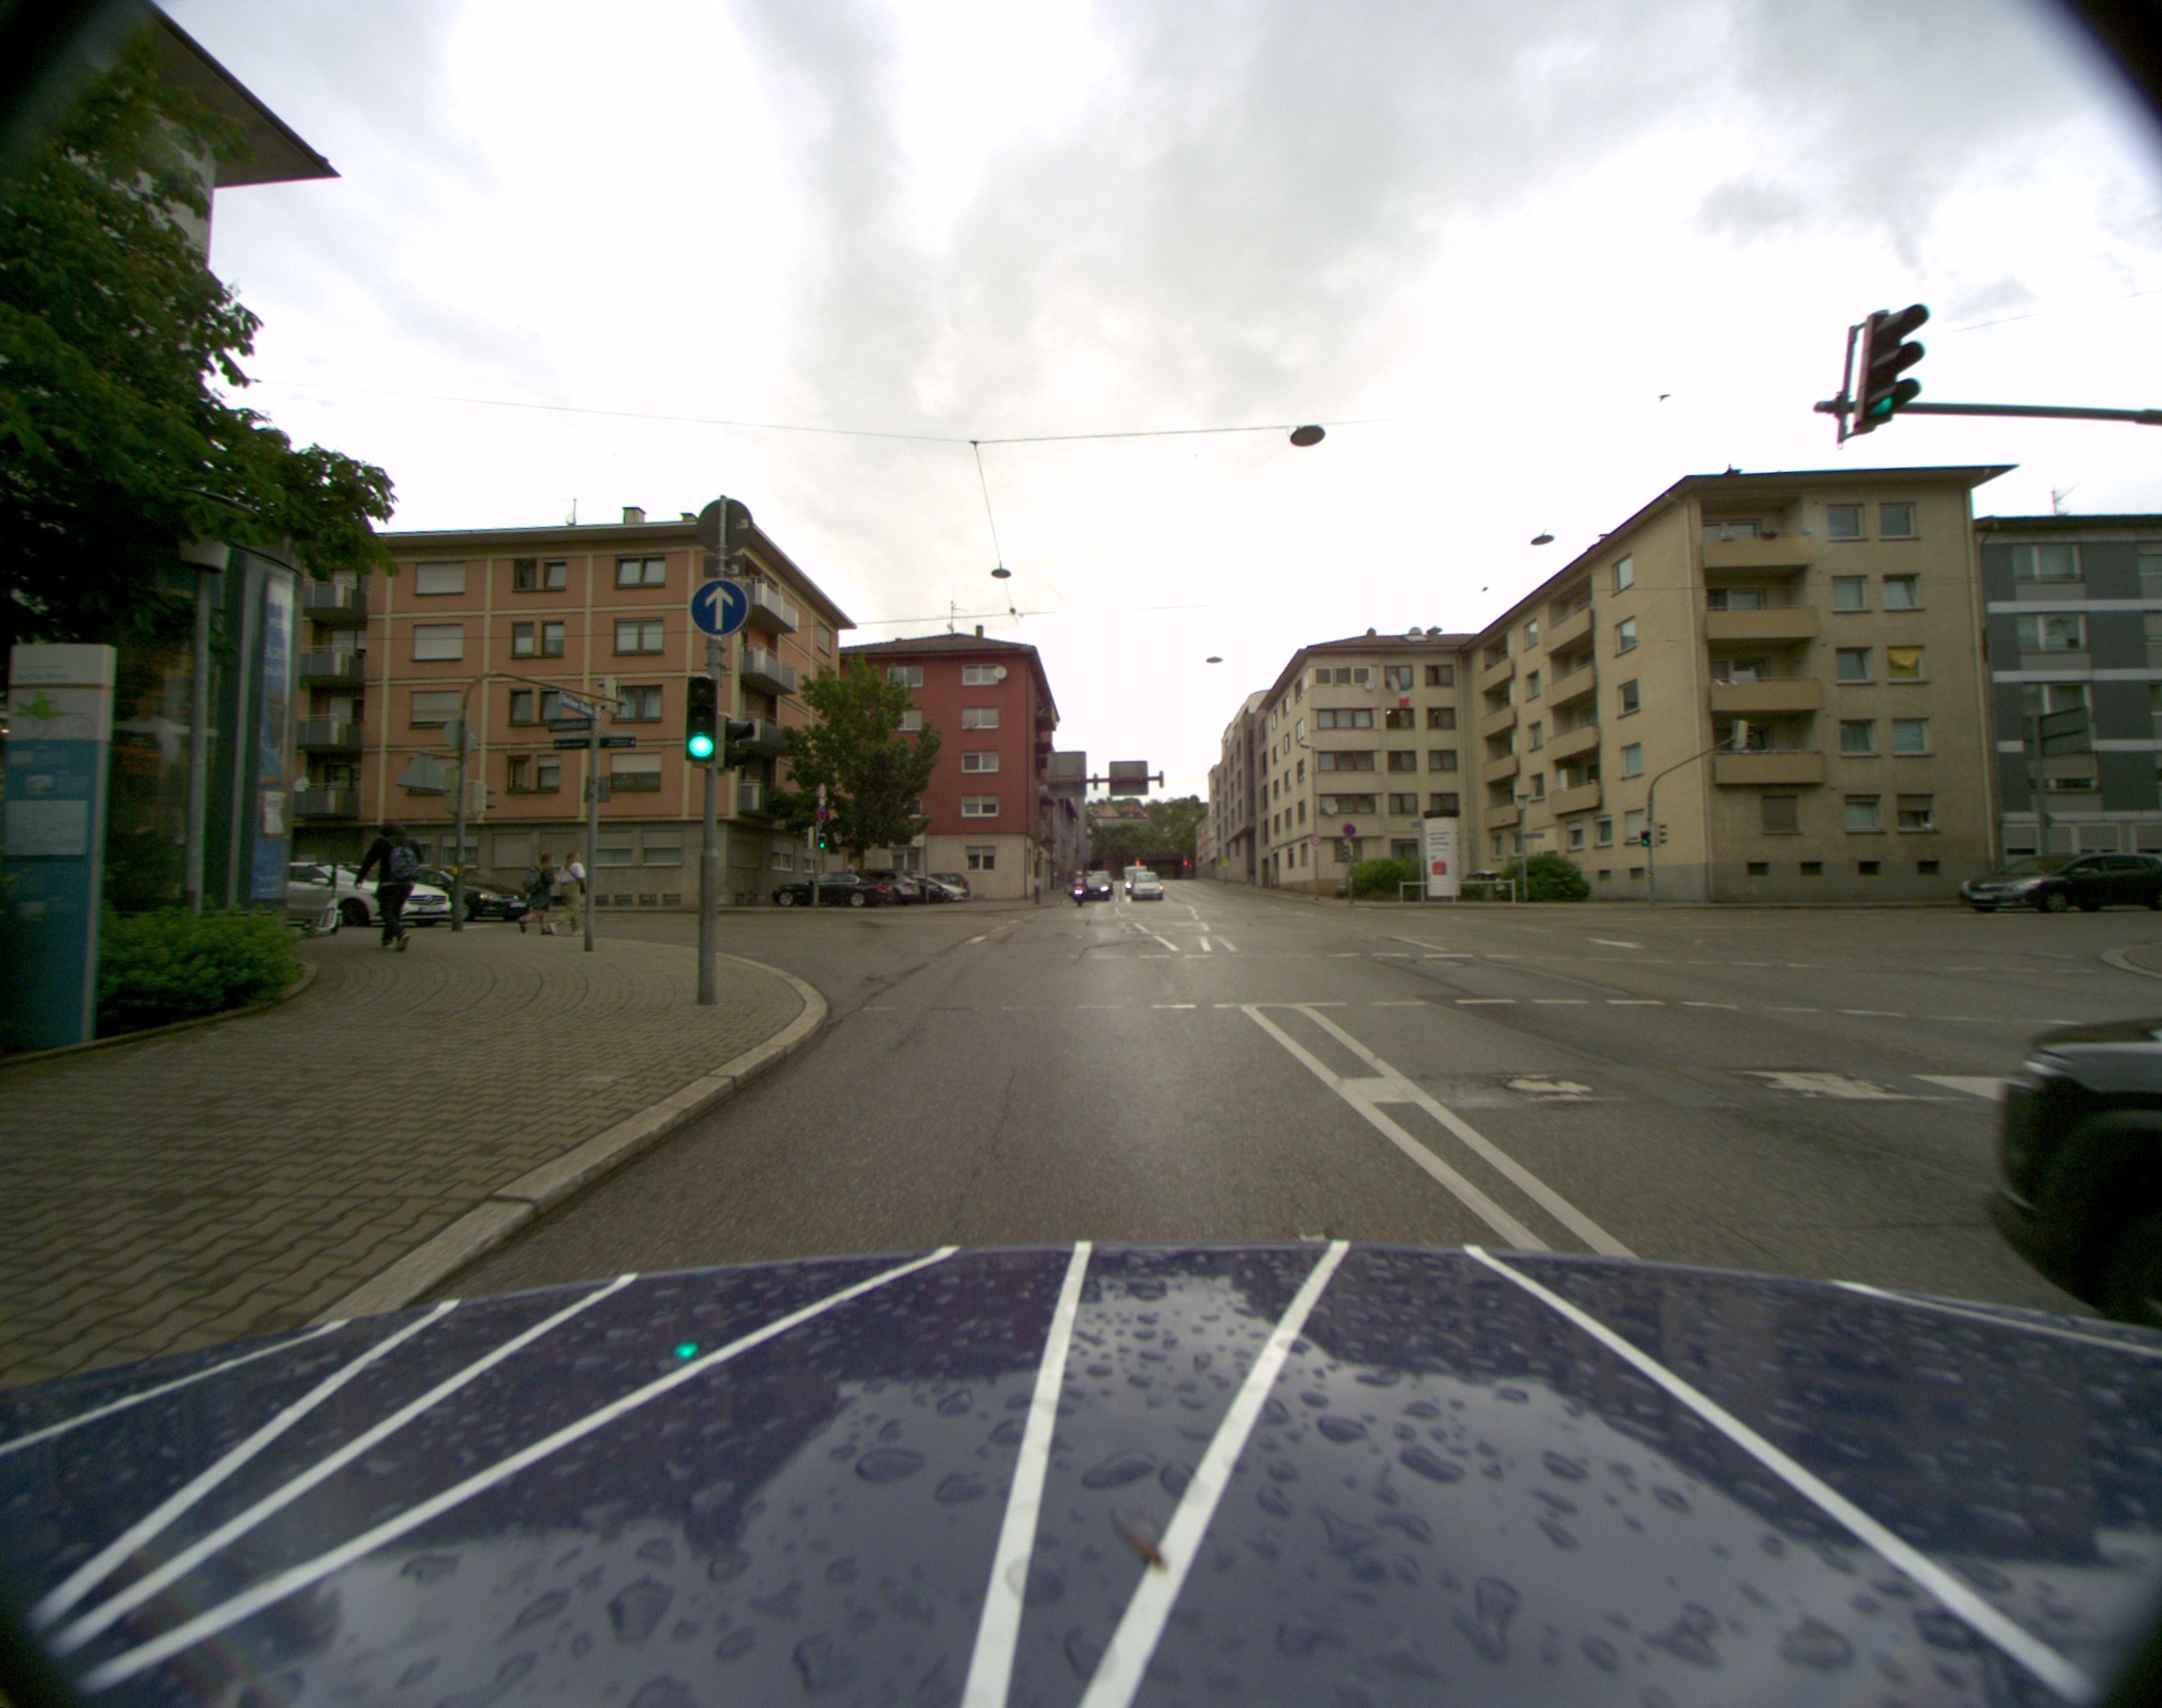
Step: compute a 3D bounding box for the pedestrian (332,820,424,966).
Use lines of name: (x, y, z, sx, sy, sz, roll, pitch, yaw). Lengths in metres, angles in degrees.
pedestrian: (-9.266, 0.505, 10.059, 0.756, 1.806, 0.915, 3, -2, -38)

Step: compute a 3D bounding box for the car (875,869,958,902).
car: (-8.753, 1.708, 40.418, 3.991, 1.687, 1.804, -2, -4, 22)

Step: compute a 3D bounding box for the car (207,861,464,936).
car: (-16.343, 0.960, 16.792, 3.996, 1.503, 1.851, -1, -1, 4)

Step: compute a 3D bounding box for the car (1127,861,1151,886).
car: (4.946, 1.660, 64.319, 1.941, 1.903, 4.860, -2, -3, 5)

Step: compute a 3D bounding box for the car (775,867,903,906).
car: (-10.210, 1.366, 32.279, 4.790, 1.545, 1.851, 1, -2, 5)

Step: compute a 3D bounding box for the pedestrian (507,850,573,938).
pedestrian: (-10.492, 0.783, 14.747, 0.708, 1.636, 0.761, -1, -5, 37)

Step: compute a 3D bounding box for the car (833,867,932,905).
car: (-9.143, 1.500, 35.227, 3.996, 1.650, 1.994, -1, -2, 3)

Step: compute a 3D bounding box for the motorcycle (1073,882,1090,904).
motorcycle: (0.024, 1.859, 36.656, 0.637, 0.921, 2.364, -2, 0, -3)

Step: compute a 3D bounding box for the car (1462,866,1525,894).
car: (23.113, 1.448, 42.678, 1.765, 1.465, 3.326, -2, -1, 1)

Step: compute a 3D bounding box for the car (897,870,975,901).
car: (-8.188, 1.826, 42.933, 3.991, 1.571, 1.678, -4, -4, 21)

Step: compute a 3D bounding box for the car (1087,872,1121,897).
car: (1.341, 1.833, 46.047, 1.874, 1.433, 4.001, -2, -2, -1)

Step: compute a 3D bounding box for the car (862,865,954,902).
car: (-8.625, 1.469, 37.989, 3.992, 1.709, 1.996, -2, -2, 15)

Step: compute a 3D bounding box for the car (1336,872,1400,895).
car: (17.111, 1.768, 45.389, 3.260, 1.185, 1.383, -2, -3, 3)

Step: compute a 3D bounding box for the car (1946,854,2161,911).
car: (26.762, 0.804, 20.792, 4.068, 1.471, 1.734, -1, -3, 1)

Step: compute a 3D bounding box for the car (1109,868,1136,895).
car: (2.996, 2.055, 55.409, 1.793, 1.716, 4.004, -2, -4, 2)

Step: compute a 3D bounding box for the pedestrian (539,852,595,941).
pedestrian: (-9.857, 0.832, 14.601, 0.760, 1.636, 0.708, 4, -5, -32)

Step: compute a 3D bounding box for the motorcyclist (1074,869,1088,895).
motorcyclist: (-0.010, 1.339, 36.728, 0.654, 1.216, 0.658, -1, 0, -3)

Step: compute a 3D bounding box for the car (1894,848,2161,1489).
car: (3.487, 0.777, 0.217, 1.823, 1.528, 4.378, -1, 1, 0)

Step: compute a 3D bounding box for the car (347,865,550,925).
car: (-16.800, 1.075, 20.315, 3.996, 1.480, 1.851, -1, -1, 4)

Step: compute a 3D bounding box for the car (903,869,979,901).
car: (-8.393, 1.896, 45.790, 3.993, 1.694, 2.004, -3, -4, 15)

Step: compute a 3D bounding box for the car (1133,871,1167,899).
car: (4.021, 1.782, 44.646, 1.839, 1.545, 4.002, -1, -2, 4)

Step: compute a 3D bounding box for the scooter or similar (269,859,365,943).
scooter or similar: (-11.623, 0.729, 11.609, 0.502, 1.182, 1.559, 0, -4, -25)
